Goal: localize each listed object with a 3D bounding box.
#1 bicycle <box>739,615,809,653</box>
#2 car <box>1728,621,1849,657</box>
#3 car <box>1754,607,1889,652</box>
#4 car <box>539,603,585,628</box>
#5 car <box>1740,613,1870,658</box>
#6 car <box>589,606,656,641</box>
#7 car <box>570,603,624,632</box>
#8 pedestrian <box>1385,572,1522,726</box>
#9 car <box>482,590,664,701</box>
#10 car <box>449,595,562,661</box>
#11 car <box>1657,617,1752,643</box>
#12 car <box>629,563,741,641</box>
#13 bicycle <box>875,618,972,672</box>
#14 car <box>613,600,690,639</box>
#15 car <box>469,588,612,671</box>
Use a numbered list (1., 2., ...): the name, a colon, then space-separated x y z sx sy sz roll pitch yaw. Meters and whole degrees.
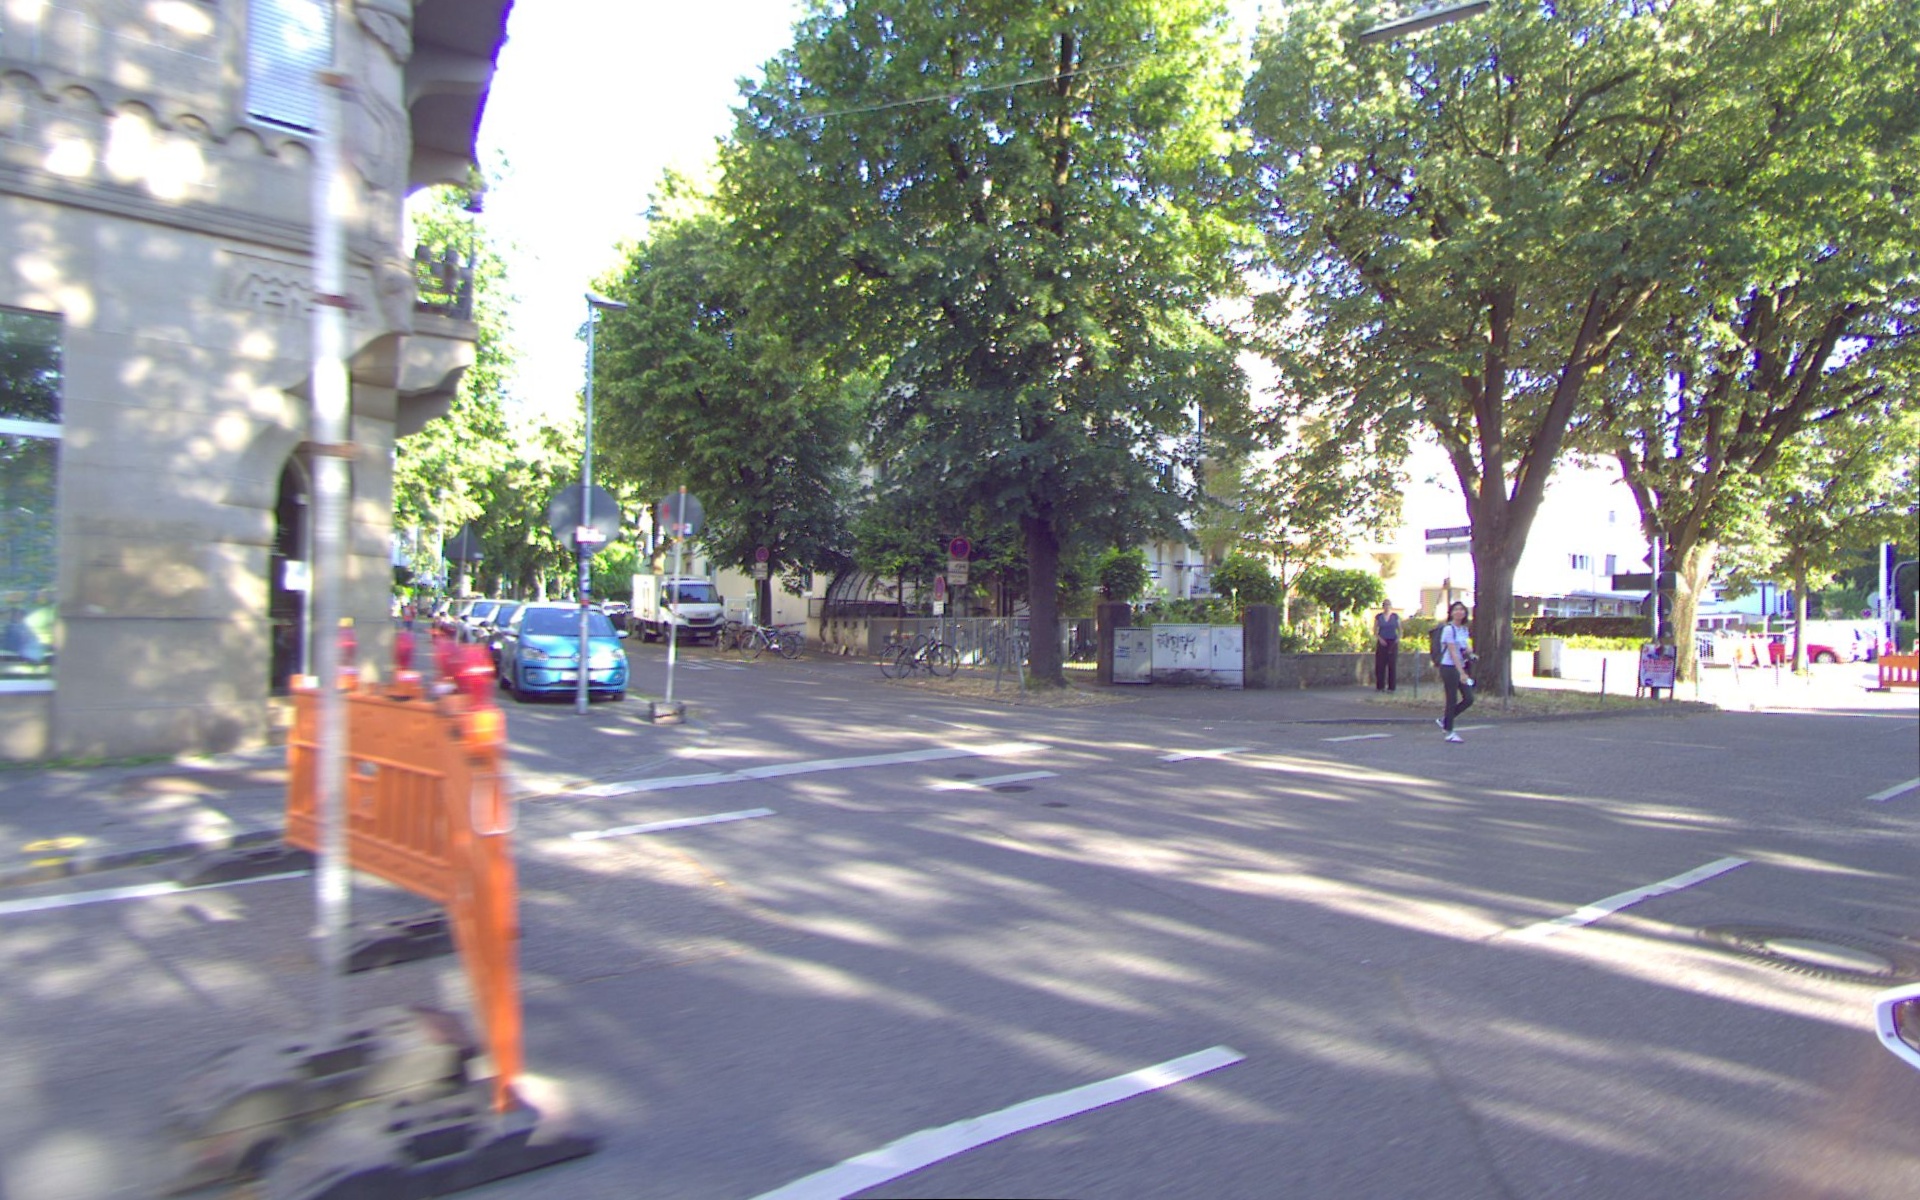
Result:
1. bicycle: -5.321 0.972 28.714 1.902 1.023 0.926 1 0 -16
2. car: 37.708 1.750 45.799 1.983 1.498 3.958 1 0 -39
3. car: 41.986 1.399 49.050 2.098 1.991 4.632 1 0 -37
4. car: -25.489 1.007 64.256 1.979 1.506 3.963 1 -1 -33
5. car: 39.722 1.631 47.335 1.978 1.876 4.289 1 0 -32
6. car: -15.391 1.063 45.715 1.979 1.506 3.963 1 -1 -33
7. car: -20.201 0.973 55.772 1.979 1.506 3.963 1 -1 -33
8. pedestrian: 6.134 0.590 12.502 1.177 1.805 1.039 1 -1 -28
9. car: -6.399 0.685 16.362 1.979 1.572 3.963 1 -1 -33
10. car: -11.386 0.675 25.026 1.979 1.506 3.963 1 -1 -33
11. car: 46.052 1.820 62.241 1.971 1.417 4.305 1 0 -22
12. car: -10.052 0.127 36.415 2.432 2.599 5.205 1 -1 -33
13. bicycle: -0.771 0.944 21.251 1.907 1.091 0.744 1 0 -24
14. car: -12.646 0.795 41.047 1.979 1.506 3.963 1 -1 -33
15. car: -8.576 0.576 20.360 1.979 1.506 3.963 1 -1 -33
